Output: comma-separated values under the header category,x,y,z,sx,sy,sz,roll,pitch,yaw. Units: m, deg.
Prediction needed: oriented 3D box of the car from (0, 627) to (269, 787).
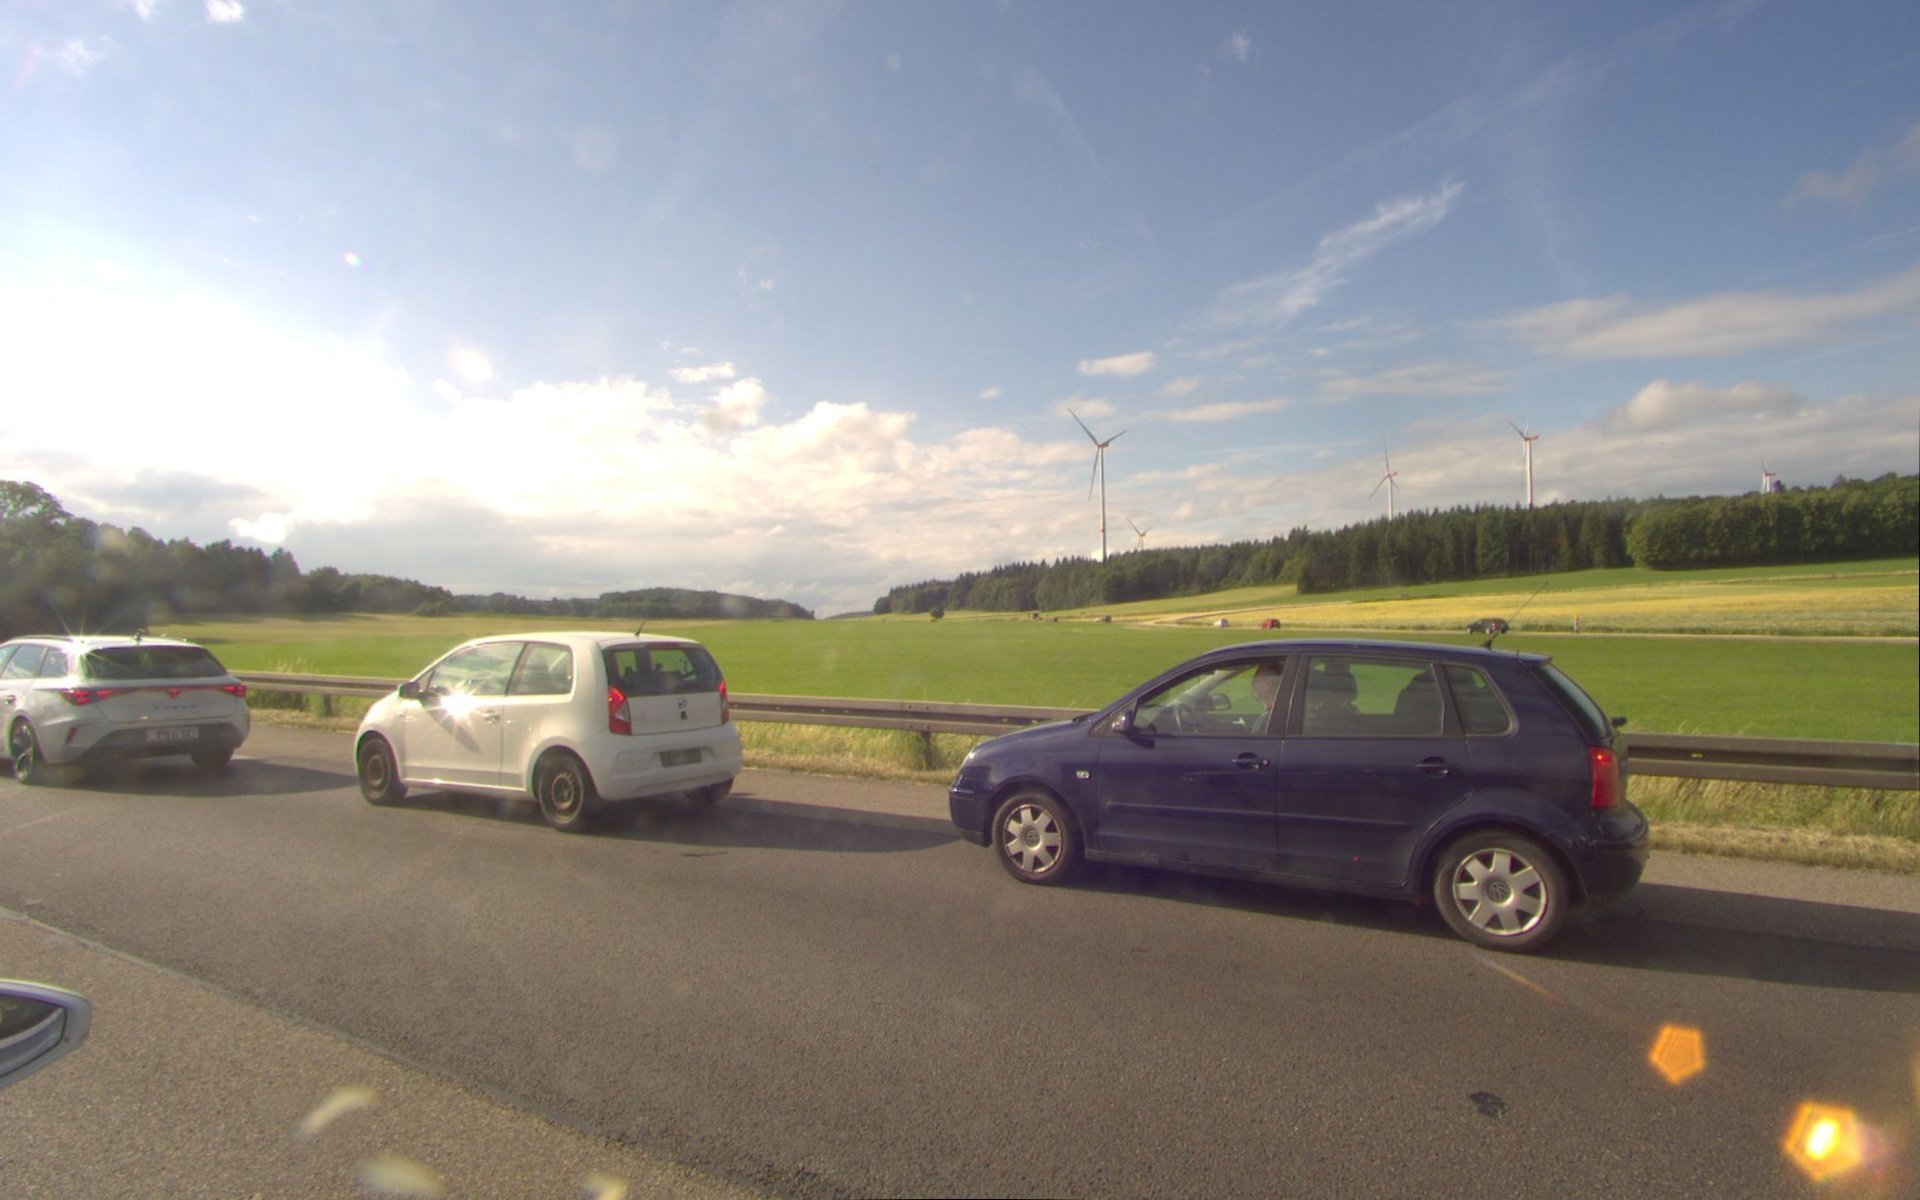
category,x,y,z,sx,sy,sz,roll,pitch,yaw
car,-9.465,1.041,10.862,4.084,1.464,1.619,-1,-2,29

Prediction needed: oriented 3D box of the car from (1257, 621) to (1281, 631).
category,x,y,z,sx,sy,sz,roll,pitch,yaw
car,45.205,3.815,146.432,1.803,1.505,4.221,0,-2,-6

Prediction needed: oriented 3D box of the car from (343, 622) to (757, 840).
category,x,y,z,sx,sy,sz,roll,pitch,yaw
car,-3.527,0.961,8.551,3.326,1.514,1.547,0,-1,29

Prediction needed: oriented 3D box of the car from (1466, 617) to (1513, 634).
category,x,y,z,sx,sy,sz,roll,pitch,yaw
car,49.836,2.408,94.293,1.803,1.505,4.221,0,-2,-6

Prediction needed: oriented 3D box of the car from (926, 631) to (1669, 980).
category,x,y,z,sx,sy,sz,roll,pitch,yaw
car,1.812,0.930,5.915,3.719,1.464,1.708,-1,-2,31

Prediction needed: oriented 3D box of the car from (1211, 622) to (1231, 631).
category,x,y,z,sx,sy,sz,roll,pitch,yaw
car,44.034,4.498,169.149,1.803,1.505,4.288,0,-2,-6
